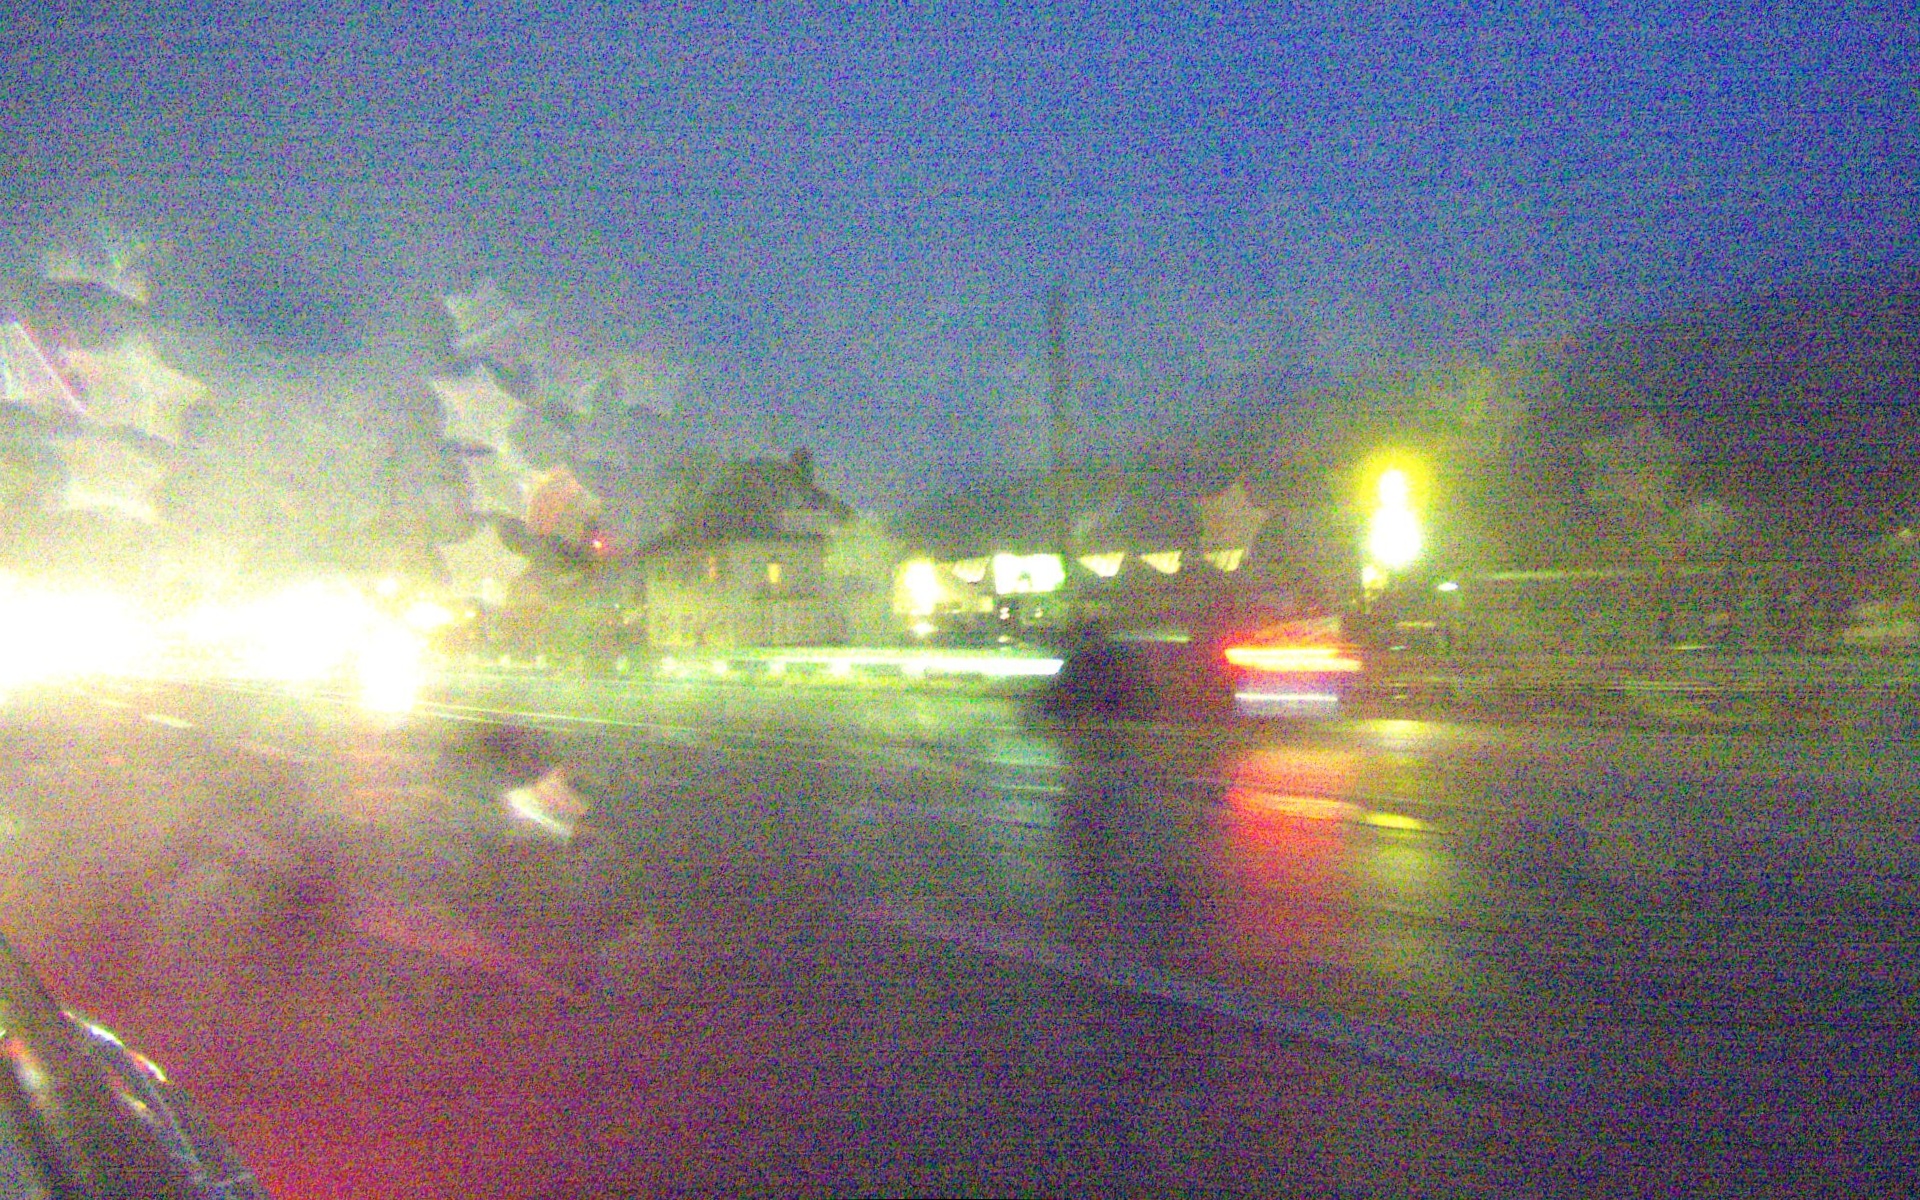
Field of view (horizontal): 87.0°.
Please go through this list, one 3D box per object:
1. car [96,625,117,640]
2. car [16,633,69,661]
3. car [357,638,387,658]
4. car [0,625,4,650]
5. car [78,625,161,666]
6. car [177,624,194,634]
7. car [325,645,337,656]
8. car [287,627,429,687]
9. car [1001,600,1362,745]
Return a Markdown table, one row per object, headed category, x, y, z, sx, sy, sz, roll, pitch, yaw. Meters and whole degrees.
| category | x | y | z | sx | sy | sz | roll | pitch | yaw |
| --- | --- | --- | --- | --- | --- | --- | --- | --- | --- |
| car | -124.395 | 4.693 | 147.480 | 1.967 | 2.029 | 4.010 | -1 | 0 | -35 |
| car | -57.225 | 2.912 | 63.110 | 3.896 | 1.612 | 1.863 | -2 | 0 | 39 |
| car | -65.171 | 5.275 | 112.130 | 1.970 | 2.029 | 4.004 | -1 | 0 | -43 |
| car | -79.029 | 3.090 | 82.145 | 1.970 | 2.029 | 4.004 | -1 | 0 | -43 |
| car | -39.536 | 2.096 | 47.578 | 4.520 | 1.758 | 2.176 | -2 | 0 | 39 |
| car | -142.517 | 5.312 | 186.321 | 1.966 | 1.625 | 4.626 | -1 | -1 | -30 |
| car | -112.255 | 9.002 | 180.649 | 1.783 | 1.582 | 4.305 | -1 | 0 | -30 |
| car | -16.303 | 1.489 | 27.319 | 4.484 | 1.453 | 1.815 | -2 | 0 | 38 |
| car | 2.577 | 0.778 | 12.189 | 3.851 | 1.452 | 1.773 | -2 | 0 | 38 |
